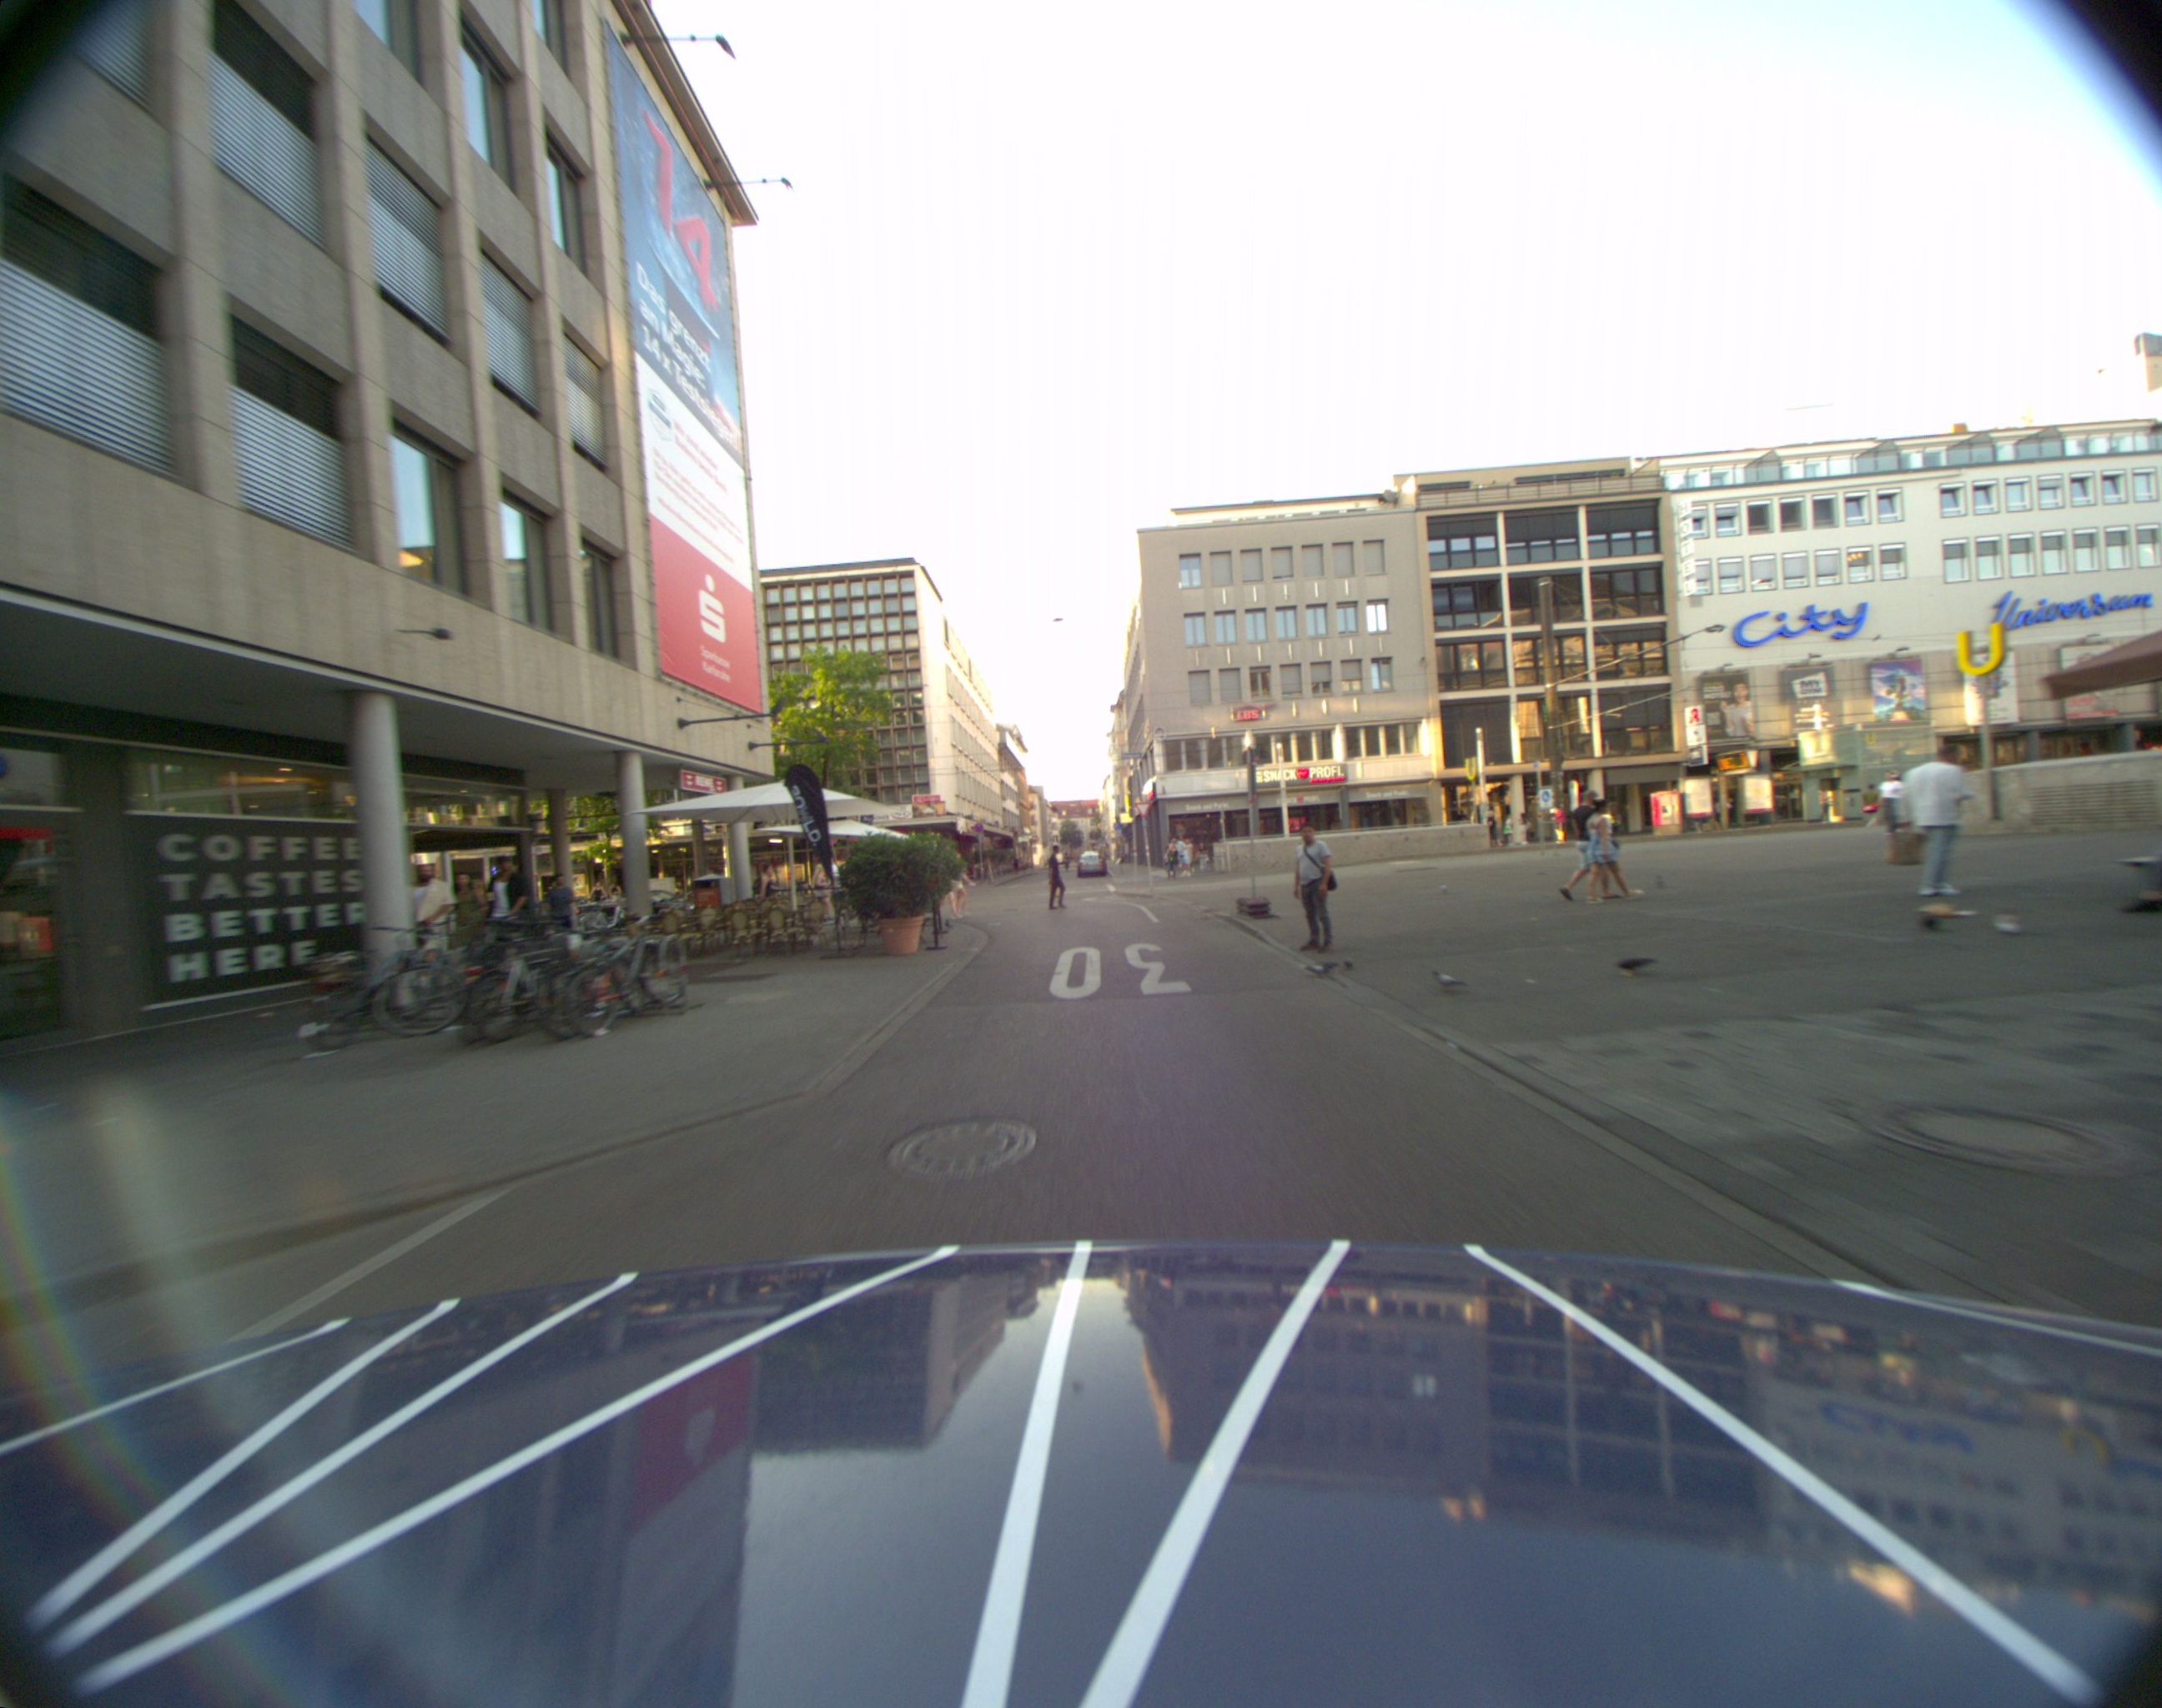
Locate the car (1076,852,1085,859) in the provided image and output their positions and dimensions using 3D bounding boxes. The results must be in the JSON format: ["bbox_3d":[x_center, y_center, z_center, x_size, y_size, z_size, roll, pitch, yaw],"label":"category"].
[{"bbox_3d":[-0.123,0.262,169.425,1.799,1.501,4.000,-4,0,0],"label":"car"}]

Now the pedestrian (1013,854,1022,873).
[{"bbox_3d":[-5.739,0.835,68.781,0.649,1.652,0.650,-5,1,0],"label":"pedestrian"}]

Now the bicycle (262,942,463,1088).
[{"bbox_3d":[-6.949,1.494,7.481,0.383,1.027,1.862,-4,0,-9],"label":"bicycle"}]

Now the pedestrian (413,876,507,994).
[{"bbox_3d":[-9.850,1.265,12.073,0.799,1.751,0.687,-4,1,-3],"label":"pedestrian"}]

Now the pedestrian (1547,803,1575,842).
[{"bbox_3d":[21.813,-1.426,34.532,0.709,1.698,0.681,-5,1,6],"label":"pedestrian"}]

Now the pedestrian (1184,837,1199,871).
[{"bbox_3d":[5.556,-0.001,38.335,0.545,1.698,0.558,-5,1,1],"label":"pedestrian"}]

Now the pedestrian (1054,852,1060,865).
[{"bbox_3d":[-3.092,0.601,96.915,0.649,1.652,0.650,-4,1,2],"label":"pedestrian"}]

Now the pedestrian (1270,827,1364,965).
[{"bbox_3d":[3.012,0.519,9.715,0.754,1.649,0.742,-4,1,-35],"label":"pedestrian"}]

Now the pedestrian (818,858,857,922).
[{"bbox_3d":[-6.701,0.971,20.881,0.797,1.679,0.768,-4,1,-28],"label":"pedestrian"}]

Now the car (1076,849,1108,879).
[{"bbox_3d":[0.656,0.604,47.753,1.824,1.729,4.000,-4,0,0],"label":"car"}]

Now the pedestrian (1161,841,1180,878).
[{"bbox_3d":[3.910,0.246,33.145,0.674,1.532,0.642,-4,1,12],"label":"pedestrian"}]

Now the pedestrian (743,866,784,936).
[{"bbox_3d":[-8.068,1.173,19.349,0.797,1.679,0.768,-4,1,-19],"label":"pedestrian"}]

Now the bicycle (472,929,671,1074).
[{"bbox_3d":[-4.861,1.355,7.424,0.383,1.027,1.865,-3,0,9],"label":"bicycle"}]

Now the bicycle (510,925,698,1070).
[{"bbox_3d":[-4.516,1.311,7.371,0.330,1.027,1.865,-3,0,9],"label":"bicycle"}]

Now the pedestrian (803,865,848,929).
[{"bbox_3d":[-6.542,1.099,19.513,0.796,1.556,0.769,-4,1,0],"label":"pedestrian"}]

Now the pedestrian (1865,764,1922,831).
[{"bbox_3d":[22.354,-1.548,20.923,0.686,1.751,0.800,-3,1,11],"label":"pedestrian"}]

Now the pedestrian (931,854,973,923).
[{"bbox_3d":[-3.284,0.863,19.361,0.795,1.679,0.769,-4,1,3],"label":"pedestrian"}]

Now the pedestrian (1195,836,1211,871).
[{"bbox_3d":[5.967,-0.022,37.234,0.545,1.698,0.558,-5,1,1],"label":"pedestrian"}]

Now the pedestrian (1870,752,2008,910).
[{"bbox_3d":[10.066,-0.263,8.939,0.687,1.751,0.799,-4,1,-14],"label":"pedestrian"}]

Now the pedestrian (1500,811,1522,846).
[{"bbox_3d":[21.362,-1.276,37.762,0.671,1.643,0.623,-6,1,-31],"label":"pedestrian"}]

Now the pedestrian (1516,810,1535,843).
[{"bbox_3d":[21.717,-1.343,37.097,0.572,1.577,0.492,-6,1,-31],"label":"pedestrian"}]

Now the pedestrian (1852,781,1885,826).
[{"bbox_3d":[30.164,-1.929,29.112,0.660,1.671,0.573,-5,1,-17],"label":"pedestrian"}]

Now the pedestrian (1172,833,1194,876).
[{"bbox_3d":[4.701,0.019,34.978,0.783,1.882,0.642,-4,1,0],"label":"pedestrian"}]

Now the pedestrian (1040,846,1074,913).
[{"bbox_3d":[-0.627,0.661,20.072,0.732,1.679,0.746,-4,1,3],"label":"pedestrian"}]

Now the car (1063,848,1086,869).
[{"bbox_3d":[-0.580,0.392,68.882,1.798,1.705,4.000,-4,0,2],"label":"car"}]

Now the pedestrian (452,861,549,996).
[{"bbox_3d":[-8.694,1.085,11.412,0.799,1.908,0.687,-4,1,-3],"label":"pedestrian"}]

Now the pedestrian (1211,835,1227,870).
[{"bbox_3d":[6.795,-0.075,37.442,0.545,1.698,0.558,-5,1,1],"label":"pedestrian"}]

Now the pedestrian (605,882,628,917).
[{"bbox_3d":[-22.311,2.170,36.488,0.649,1.652,0.651,0,1,19],"label":"pedestrian"}]

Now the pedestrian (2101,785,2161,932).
[{"bbox_3d":[9.833,0.012,6.596,0.778,1.267,0.787,-7,1,17],"label":"pedestrian"}]

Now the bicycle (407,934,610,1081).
[{"bbox_3d":[-5.475,1.416,7.432,0.383,1.027,1.864,-4,0,5],"label":"bicycle"}]

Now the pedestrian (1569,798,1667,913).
[{"bbox_3d":[7.974,0.022,11.298,0.866,1.581,0.737,-6,1,-21],"label":"pedestrian"}]

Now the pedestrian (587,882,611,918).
[{"bbox_3d":[-23.052,2.178,36.331,0.649,1.652,0.651,0,1,19],"label":"pedestrian"}]

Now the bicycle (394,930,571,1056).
[{"bbox_3d":[-6.527,1.466,8.430,0.383,1.027,1.864,-4,0,1],"label":"bicycle"}]

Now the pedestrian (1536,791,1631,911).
[{"bbox_3d":[7.845,-0.051,11.878,0.863,1.751,0.744,-6,2,-21],"label":"pedestrian"}]

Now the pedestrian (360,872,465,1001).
[{"bbox_3d":[-9.704,1.174,11.059,0.799,1.751,0.687,-4,1,-4],"label":"pedestrian"}]

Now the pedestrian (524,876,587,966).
[{"bbox_3d":[-10.749,1.350,15.558,0.685,1.751,0.801,-3,1,39],"label":"pedestrian"}]

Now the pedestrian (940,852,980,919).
[{"bbox_3d":[-3.216,0.822,20.186,0.795,1.679,0.769,-4,1,3],"label":"pedestrian"}]
